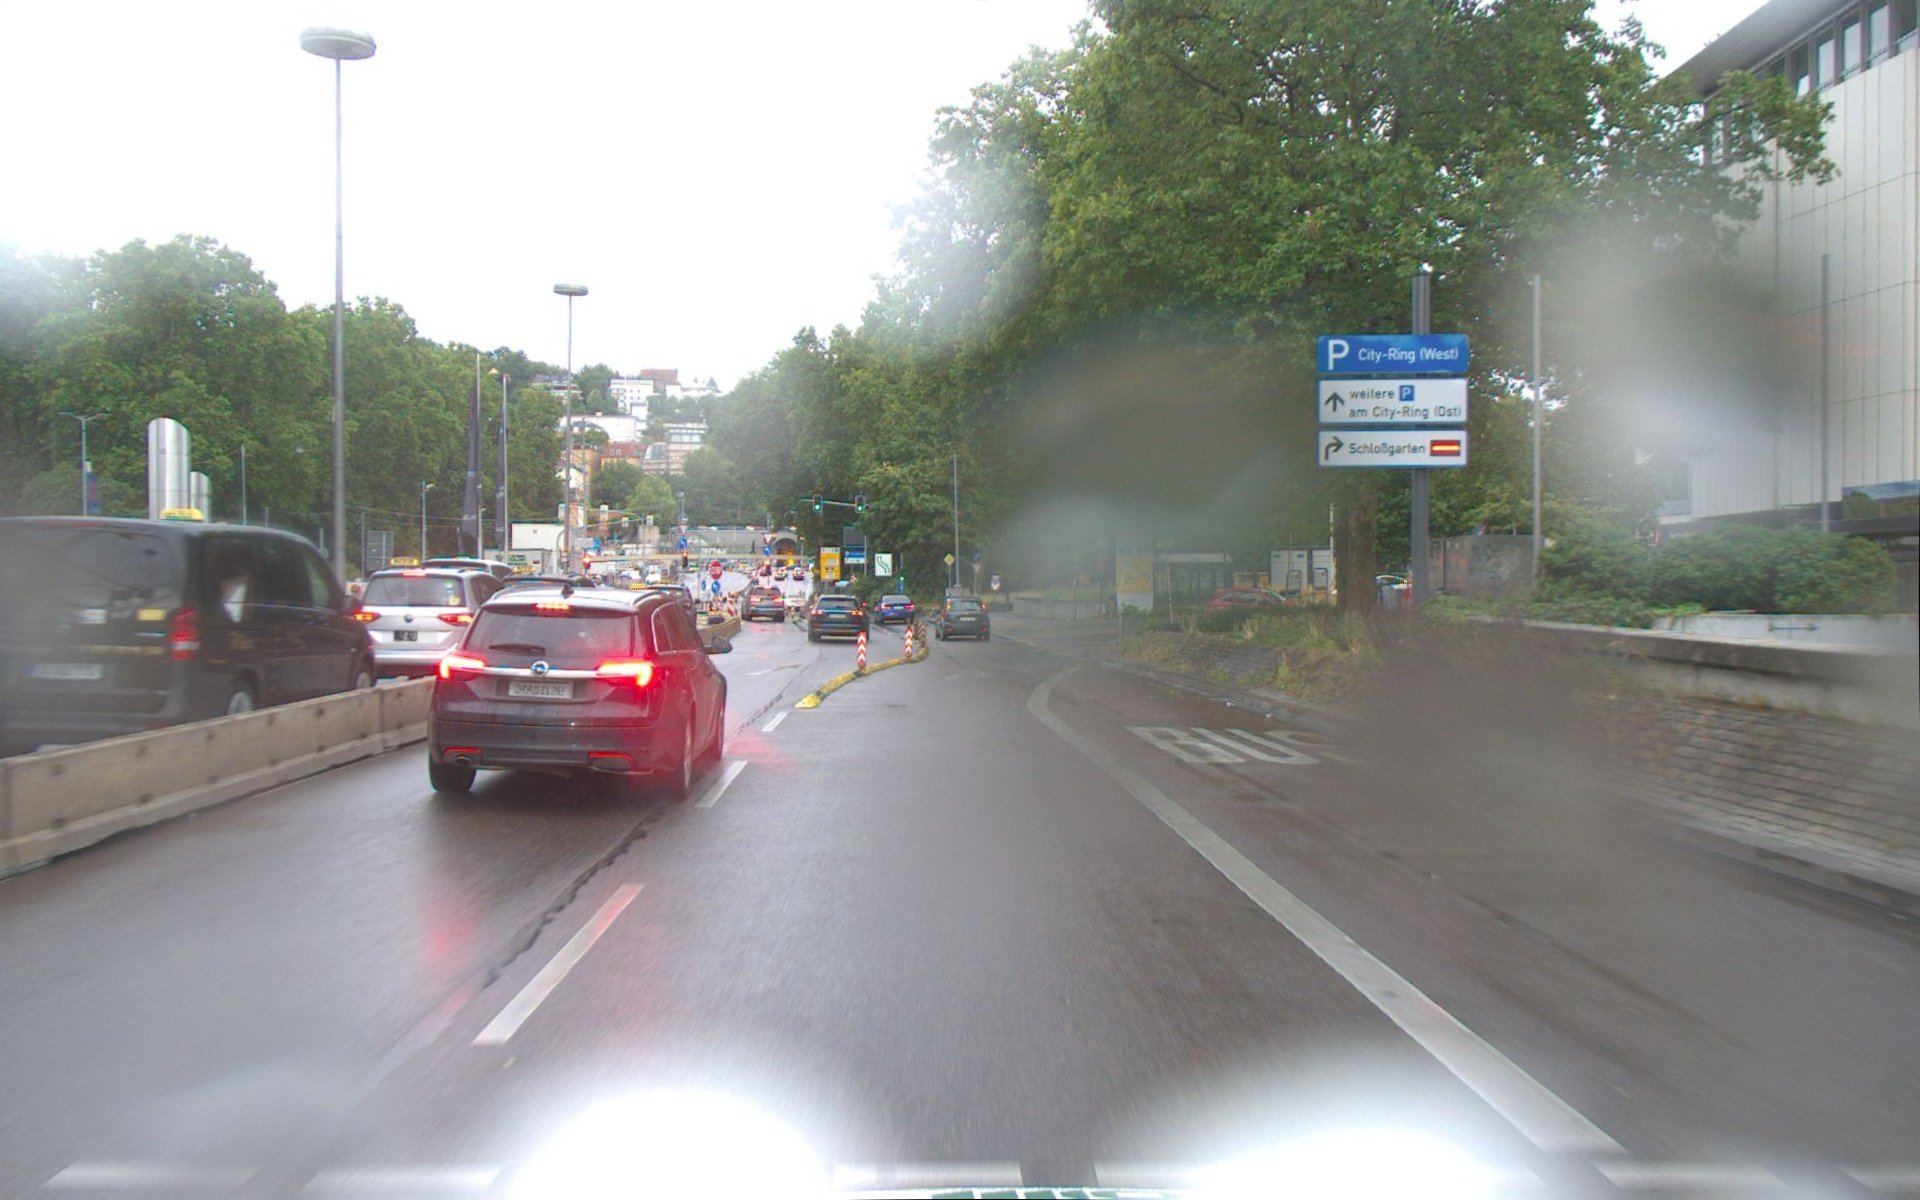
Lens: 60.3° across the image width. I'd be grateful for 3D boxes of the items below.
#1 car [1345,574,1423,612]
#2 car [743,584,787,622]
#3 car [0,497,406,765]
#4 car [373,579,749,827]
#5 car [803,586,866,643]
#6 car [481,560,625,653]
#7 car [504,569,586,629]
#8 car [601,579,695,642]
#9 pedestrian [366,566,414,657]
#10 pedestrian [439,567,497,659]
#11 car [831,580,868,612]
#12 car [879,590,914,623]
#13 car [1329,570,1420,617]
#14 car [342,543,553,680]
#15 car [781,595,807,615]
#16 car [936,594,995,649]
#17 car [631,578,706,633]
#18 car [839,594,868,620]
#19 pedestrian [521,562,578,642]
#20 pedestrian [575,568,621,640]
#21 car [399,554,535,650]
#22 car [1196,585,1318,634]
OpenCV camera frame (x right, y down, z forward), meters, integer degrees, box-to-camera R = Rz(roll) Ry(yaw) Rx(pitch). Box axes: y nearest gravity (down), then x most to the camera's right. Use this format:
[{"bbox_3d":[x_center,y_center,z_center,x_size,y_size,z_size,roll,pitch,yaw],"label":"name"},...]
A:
[{"bbox_3d":[21.780,-0.342,84.887,4.421,1.812,1.918,1,0,-45],"label":"car"},{"bbox_3d":[-10.139,0.150,85.796,1.957,1.859,3.990,1,0,-10],"label":"car"},{"bbox_3d":[-6.472,0.222,14.276,1.954,1.877,5.058,1,0,-4],"label":"car"},{"bbox_3d":[-2.785,0.631,12.712,1.840,1.534,4.850,0,0,-2],"label":"car"},{"bbox_3d":[-3.927,0.432,52.194,1.793,1.715,4.132,0,0,-2],"label":"car"},{"bbox_3d":[-7.347,0.117,30.299,1.788,1.537,4.487,1,0,-4],"label":"car"},{"bbox_3d":[-12.173,-0.030,48.697,1.681,1.658,4.051,1,0,-5],"label":"car"},{"bbox_3d":[-8.532,0.271,45.561,1.954,1.595,4.871,-1,0,-4],"label":"car"},{"bbox_3d":[-11.488,0.228,33.337,0.621,1.784,0.822,1,0,2],"label":"pedestrian"},{"bbox_3d":[-9.882,0.249,33.245,0.816,1.815,1.028,0,0,2],"label":"pedestrian"},{"bbox_3d":[-6.161,-0.215,92.473,1.866,1.747,3.998,1,0,-2],"label":"car"},{"bbox_3d":[-3.136,0.316,82.181,1.640,1.609,3.239,1,0,-1],"label":"car"},{"bbox_3d":[19.067,-0.285,75.883,2.097,2.049,4.619,1,0,43],"label":"car"},{"bbox_3d":[-7.166,0.159,23.625,1.788,1.726,4.770,1,0,-4],"label":"car"},{"bbox_3d":[-13.747,0.409,136.640,1.781,1.602,3.990,1,0,-11],"label":"car"},{"bbox_3d":[0.143,0.712,56.266,1.814,1.747,3.998,1,0,-2],"label":"car"},{"bbox_3d":[-8.938,0.161,50.961,1.955,1.557,4.147,-1,0,-6],"label":"car"},{"bbox_3d":[-7.147,0.459,110.884,1.604,1.653,3.787,1,0,-9],"label":"car"},{"bbox_3d":[-8.850,0.047,35.668,1.003,1.704,0.836,0,0,1],"label":"pedestrian"},{"bbox_3d":[-10.356,0.102,47.315,1.003,2.049,0.837,0,0,13],"label":"pedestrian"},{"bbox_3d":[-11.368,0.052,38.541,1.955,2.049,5.364,1,0,-5],"label":"car"},{"bbox_3d":[9.720,0.301,54.218,3.550,1.532,1.726,1,0,39],"label":"car"}]
